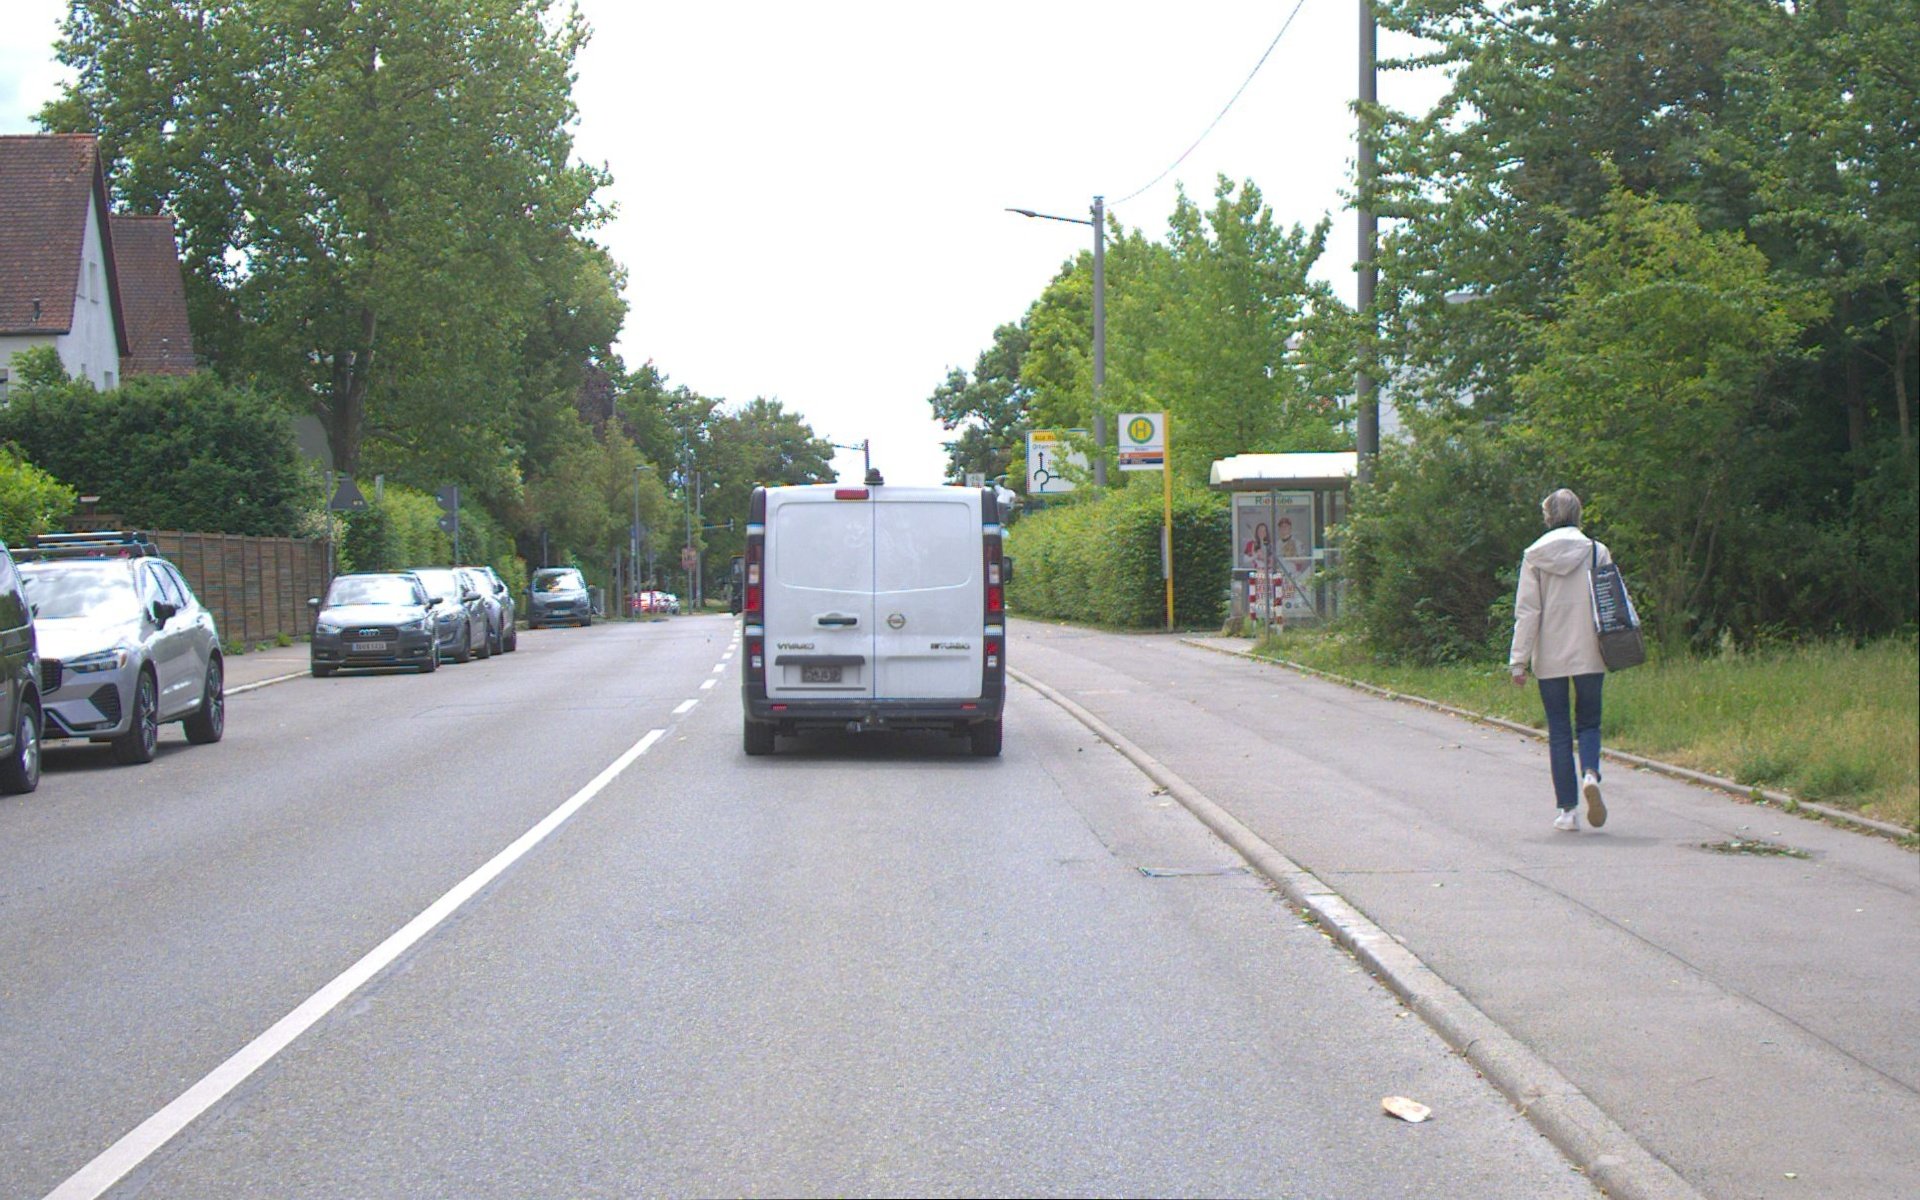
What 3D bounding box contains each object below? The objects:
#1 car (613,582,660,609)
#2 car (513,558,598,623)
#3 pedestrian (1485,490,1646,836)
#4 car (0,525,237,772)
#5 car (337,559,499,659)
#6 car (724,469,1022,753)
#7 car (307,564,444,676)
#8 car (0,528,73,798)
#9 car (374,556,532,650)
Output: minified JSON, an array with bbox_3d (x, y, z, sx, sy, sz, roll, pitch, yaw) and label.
[{"bbox_3d":[-17.657,-0.245,187.659,2.062,1.381,4.049,-1,1,-12],"label":"car"},{"bbox_3d":[-11.566,-0.290,98.101,2.131,1.766,4.466,0,1,-10],"label":"car"},{"bbox_3d":[2.955,0.297,16.826,0.686,1.653,0.690,0,1,3],"label":"pedestrian"},{"bbox_3d":[-7.316,0.320,27.948,1.985,1.812,4.708,-1,1,-2],"label":"car"},{"bbox_3d":[-8.430,0.103,53.785,1.867,1.454,4.489,-1,1,-1],"label":"car"},{"bbox_3d":[-0.603,0.039,26.030,2.034,1.939,4.994,0,1,0],"label":"car"},{"bbox_3d":[-8.275,0.256,48.920,1.651,1.422,3.907,-2,1,-6],"label":"car"},{"bbox_3d":[-7.247,0.408,22.018,2.066,1.748,4.884,0,1,-3],"label":"car"},{"bbox_3d":[-8.695,0.017,59.354,1.993,1.474,4.647,-2,1,0],"label":"car"}]
